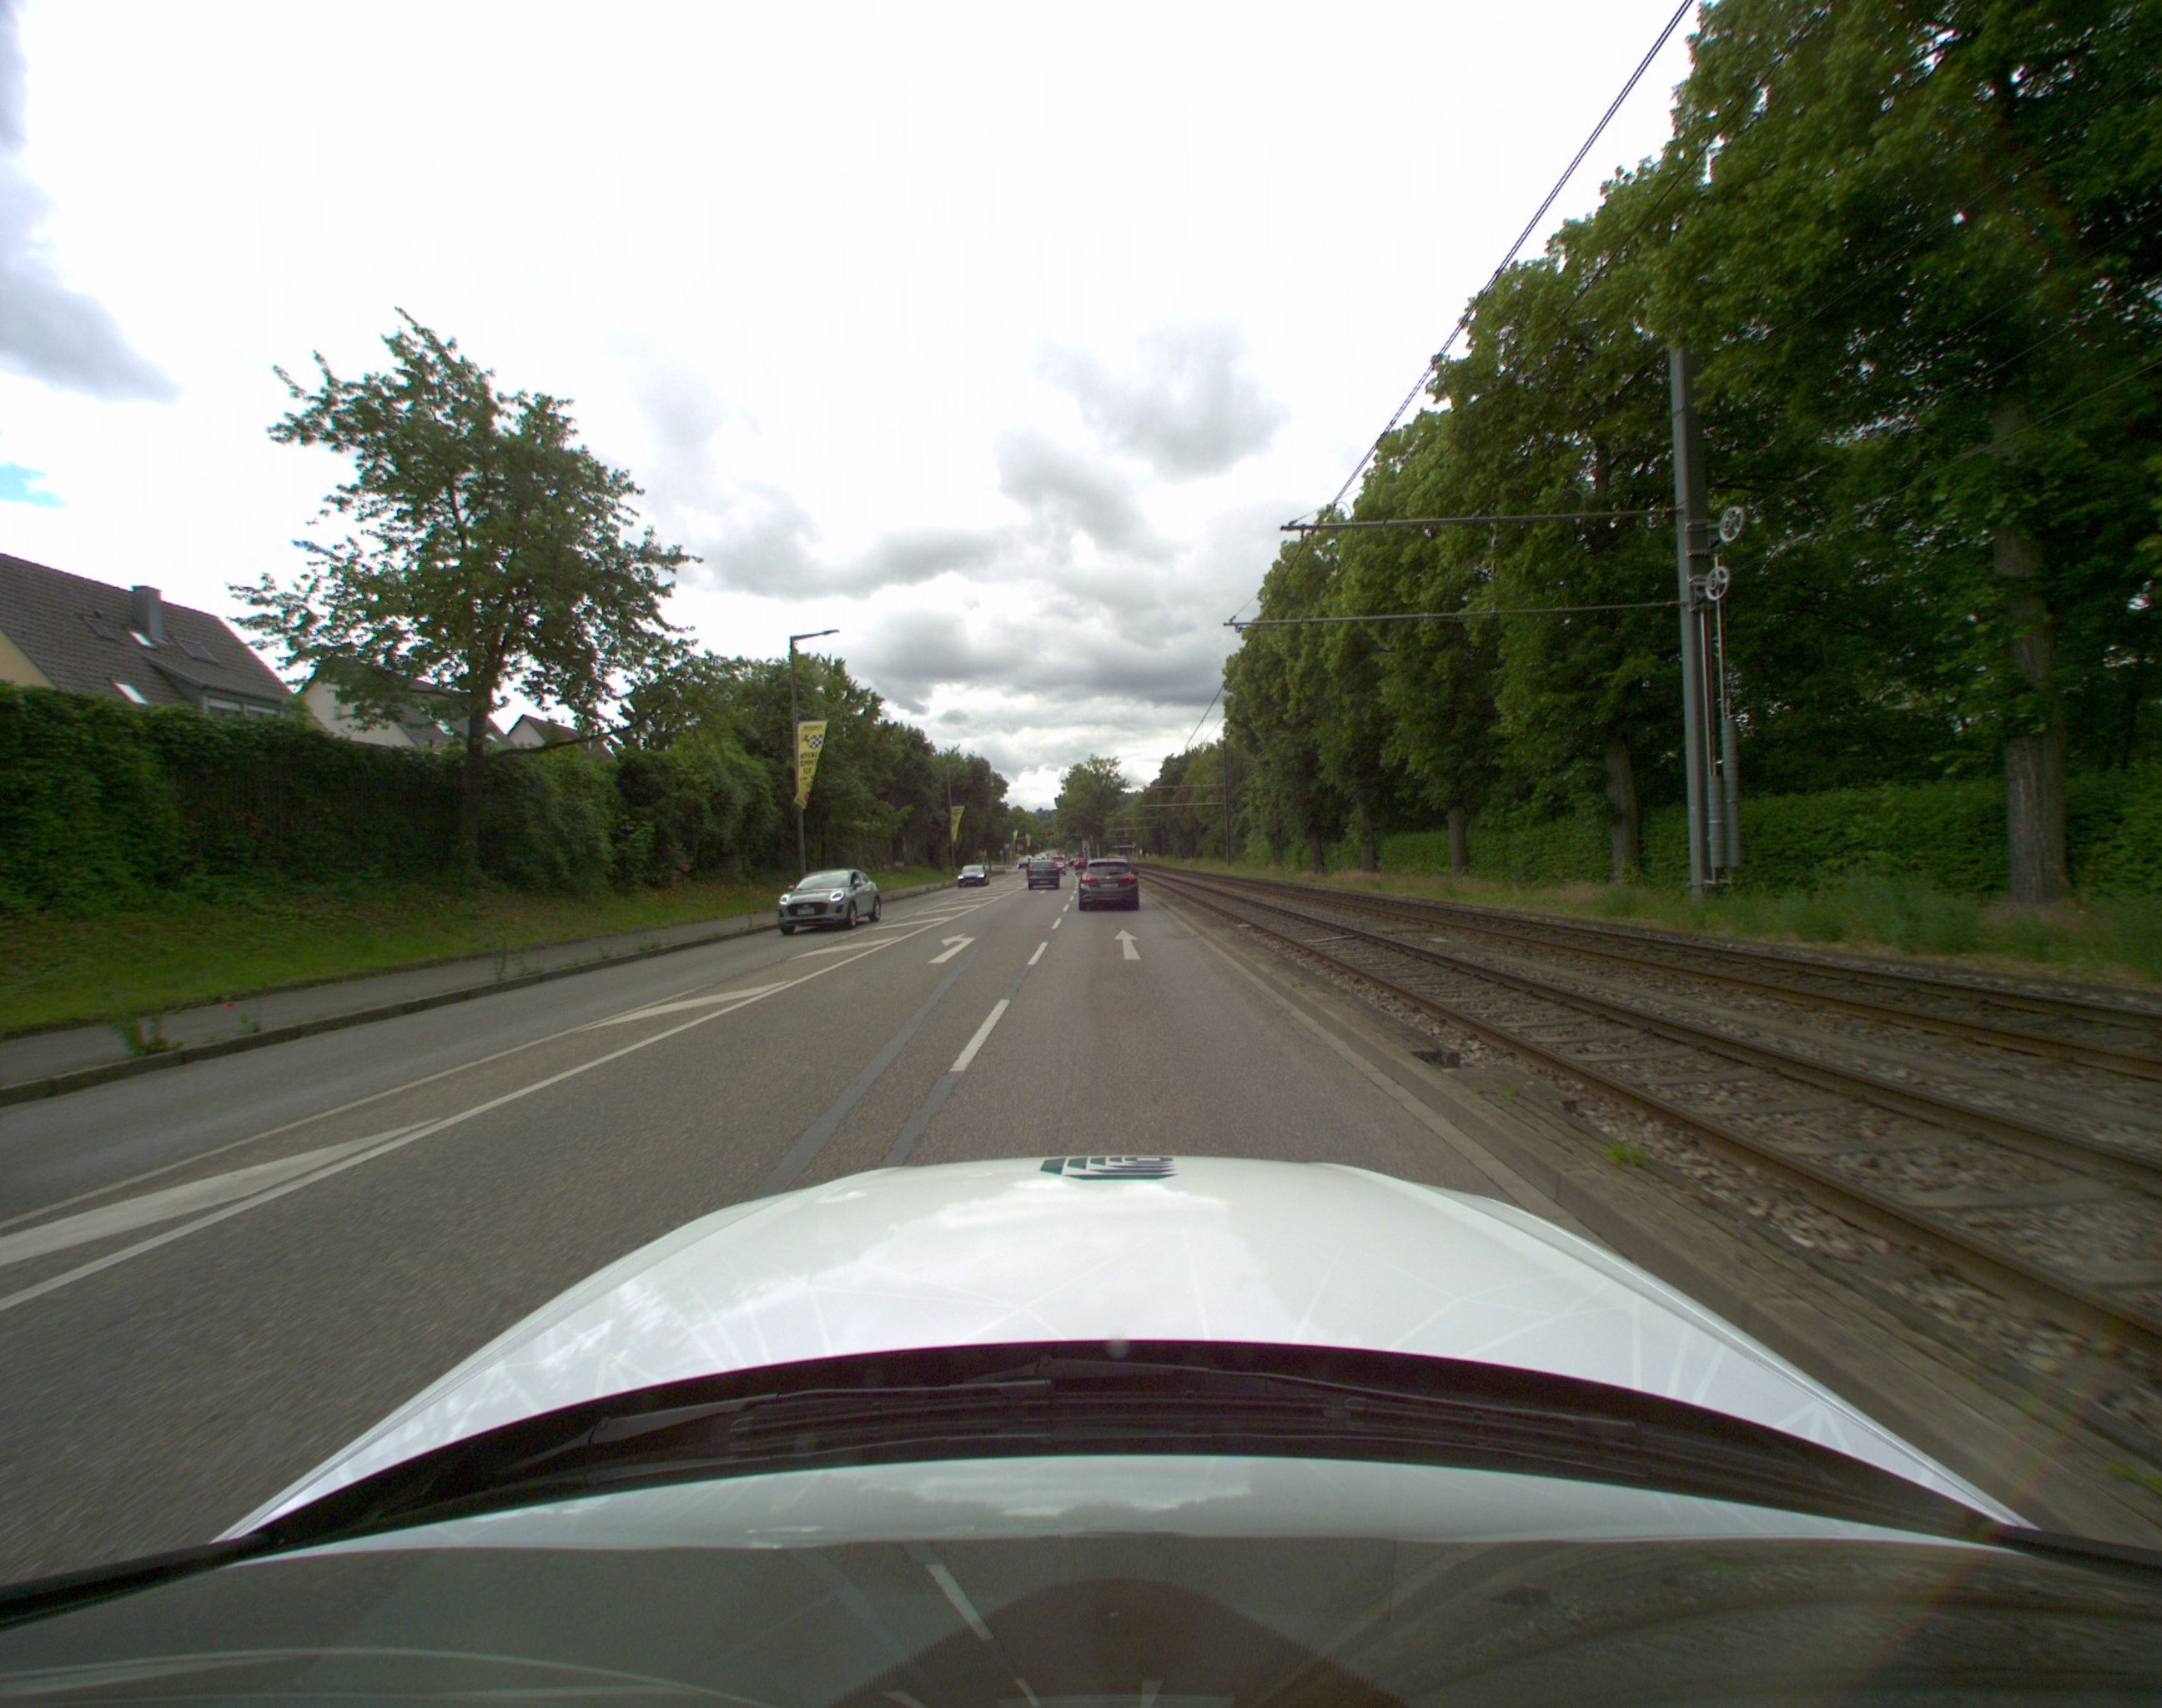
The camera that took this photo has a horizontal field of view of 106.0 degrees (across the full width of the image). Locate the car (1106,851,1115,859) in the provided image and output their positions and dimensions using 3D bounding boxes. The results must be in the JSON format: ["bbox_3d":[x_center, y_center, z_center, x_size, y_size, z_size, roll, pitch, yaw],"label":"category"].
[{"bbox_3d":[6.640,0.181,184.247,1.710,1.663,3.706,-1,-1,-1],"label":"car"}]

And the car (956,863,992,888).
[{"bbox_3d":[-7.016,1.385,53.756,1.837,1.375,4.443,-4,0,-2],"label":"car"}]

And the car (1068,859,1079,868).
[{"bbox_3d":[-1.258,1.608,140.319,1.709,1.550,4.001,-1,-1,1],"label":"car"}]

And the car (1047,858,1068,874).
[{"bbox_3d":[-2.249,1.110,78.278,1.709,1.435,4.001,-1,-1,1],"label":"car"}]

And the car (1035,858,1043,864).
[{"bbox_3d":[-11.322,1.822,219.223,1.709,1.550,4.001,-1,-1,1],"label":"car"}]

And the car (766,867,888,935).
[{"bbox_3d":[-6.587,1.156,21.609,1.821,1.457,4.142,-4,0,0],"label":"car"}]

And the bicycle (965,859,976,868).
[{"bbox_3d":[-14.918,1.288,110.020,0.494,1.107,1.811,-2,0,32],"label":"bicycle"}]

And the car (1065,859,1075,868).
[{"bbox_3d":[-2.063,1.703,151.129,1.709,1.550,4.001,-1,-1,1],"label":"car"}]

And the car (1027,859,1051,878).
[{"bbox_3d":[-3.285,1.162,64.756,1.710,1.435,3.999,-1,-1,0],"label":"car"}]

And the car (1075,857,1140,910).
[{"bbox_3d":[0.827,0.850,25.088,1.843,1.493,4.002,-1,0,2],"label":"car"}]

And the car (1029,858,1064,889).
[{"bbox_3d":[-1.757,0.983,42.490,1.695,1.443,3.998,-1,0,-1],"label":"car"}]

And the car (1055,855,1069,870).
[{"bbox_3d":[-2.506,1.104,107.799,1.710,1.864,3.998,-1,-1,-1],"label":"car"}]

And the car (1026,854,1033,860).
[{"bbox_3d":[-14.734,0.938,233.160,1.709,1.550,4.001,-1,-1,1],"label":"car"}]

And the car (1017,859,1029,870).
[{"bbox_3d":[-9.783,1.835,137.361,1.710,1.760,3.999,-1,-1,0],"label":"car"}]

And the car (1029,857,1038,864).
[{"bbox_3d":[-11.573,1.531,199.099,1.709,1.550,4.001,-1,-1,1],"label":"car"}]

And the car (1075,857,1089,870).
[{"bbox_3d":[0.134,1.249,102.725,1.709,1.550,4.001,-1,-1,1],"label":"car"}]

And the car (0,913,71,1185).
[{"bbox_3d":[-6.564,1.087,2.418,1.760,1.400,4.215,-4,0,0],"label":"car"}]
